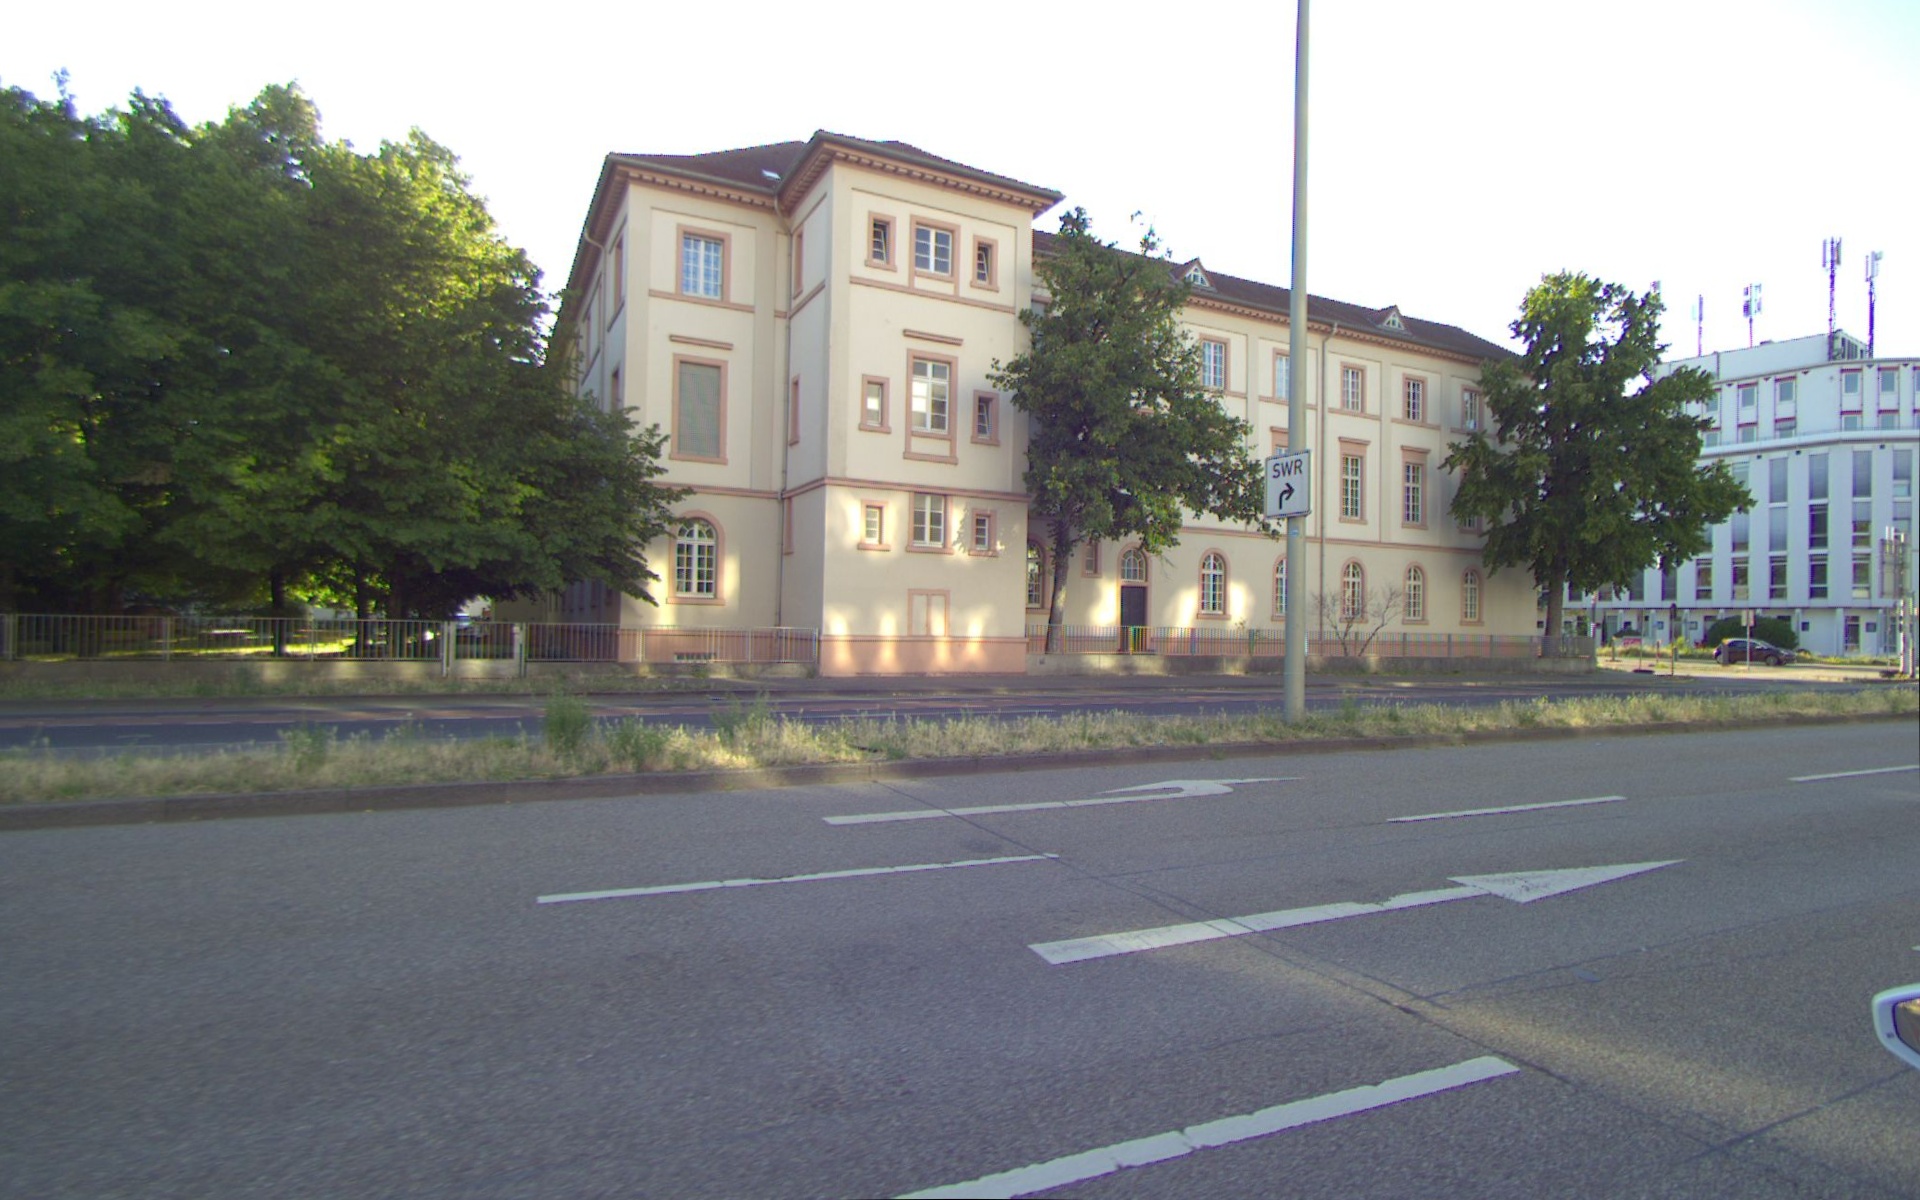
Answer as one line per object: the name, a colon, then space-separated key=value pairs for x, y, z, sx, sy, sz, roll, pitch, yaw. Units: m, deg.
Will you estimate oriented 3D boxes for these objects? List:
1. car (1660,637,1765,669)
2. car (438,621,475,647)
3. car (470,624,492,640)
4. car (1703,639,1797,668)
car: x=42.138 y=2.944 z=56.330 sx=1.972 sy=1.650 sz=4.335 roll=2 pitch=-2 yaw=-23
car: x=-30.953 y=2.080 z=61.784 sx=1.974 sy=1.541 sz=3.663 roll=2 pitch=-2 yaw=-26
car: x=-36.119 y=2.397 z=75.784 sx=1.330 sy=1.170 sz=3.085 roll=2 pitch=-2 yaw=-23
car: x=44.694 y=3.009 z=56.880 sx=1.842 sy=1.549 sz=3.790 roll=4 pitch=-4 yaw=-30
